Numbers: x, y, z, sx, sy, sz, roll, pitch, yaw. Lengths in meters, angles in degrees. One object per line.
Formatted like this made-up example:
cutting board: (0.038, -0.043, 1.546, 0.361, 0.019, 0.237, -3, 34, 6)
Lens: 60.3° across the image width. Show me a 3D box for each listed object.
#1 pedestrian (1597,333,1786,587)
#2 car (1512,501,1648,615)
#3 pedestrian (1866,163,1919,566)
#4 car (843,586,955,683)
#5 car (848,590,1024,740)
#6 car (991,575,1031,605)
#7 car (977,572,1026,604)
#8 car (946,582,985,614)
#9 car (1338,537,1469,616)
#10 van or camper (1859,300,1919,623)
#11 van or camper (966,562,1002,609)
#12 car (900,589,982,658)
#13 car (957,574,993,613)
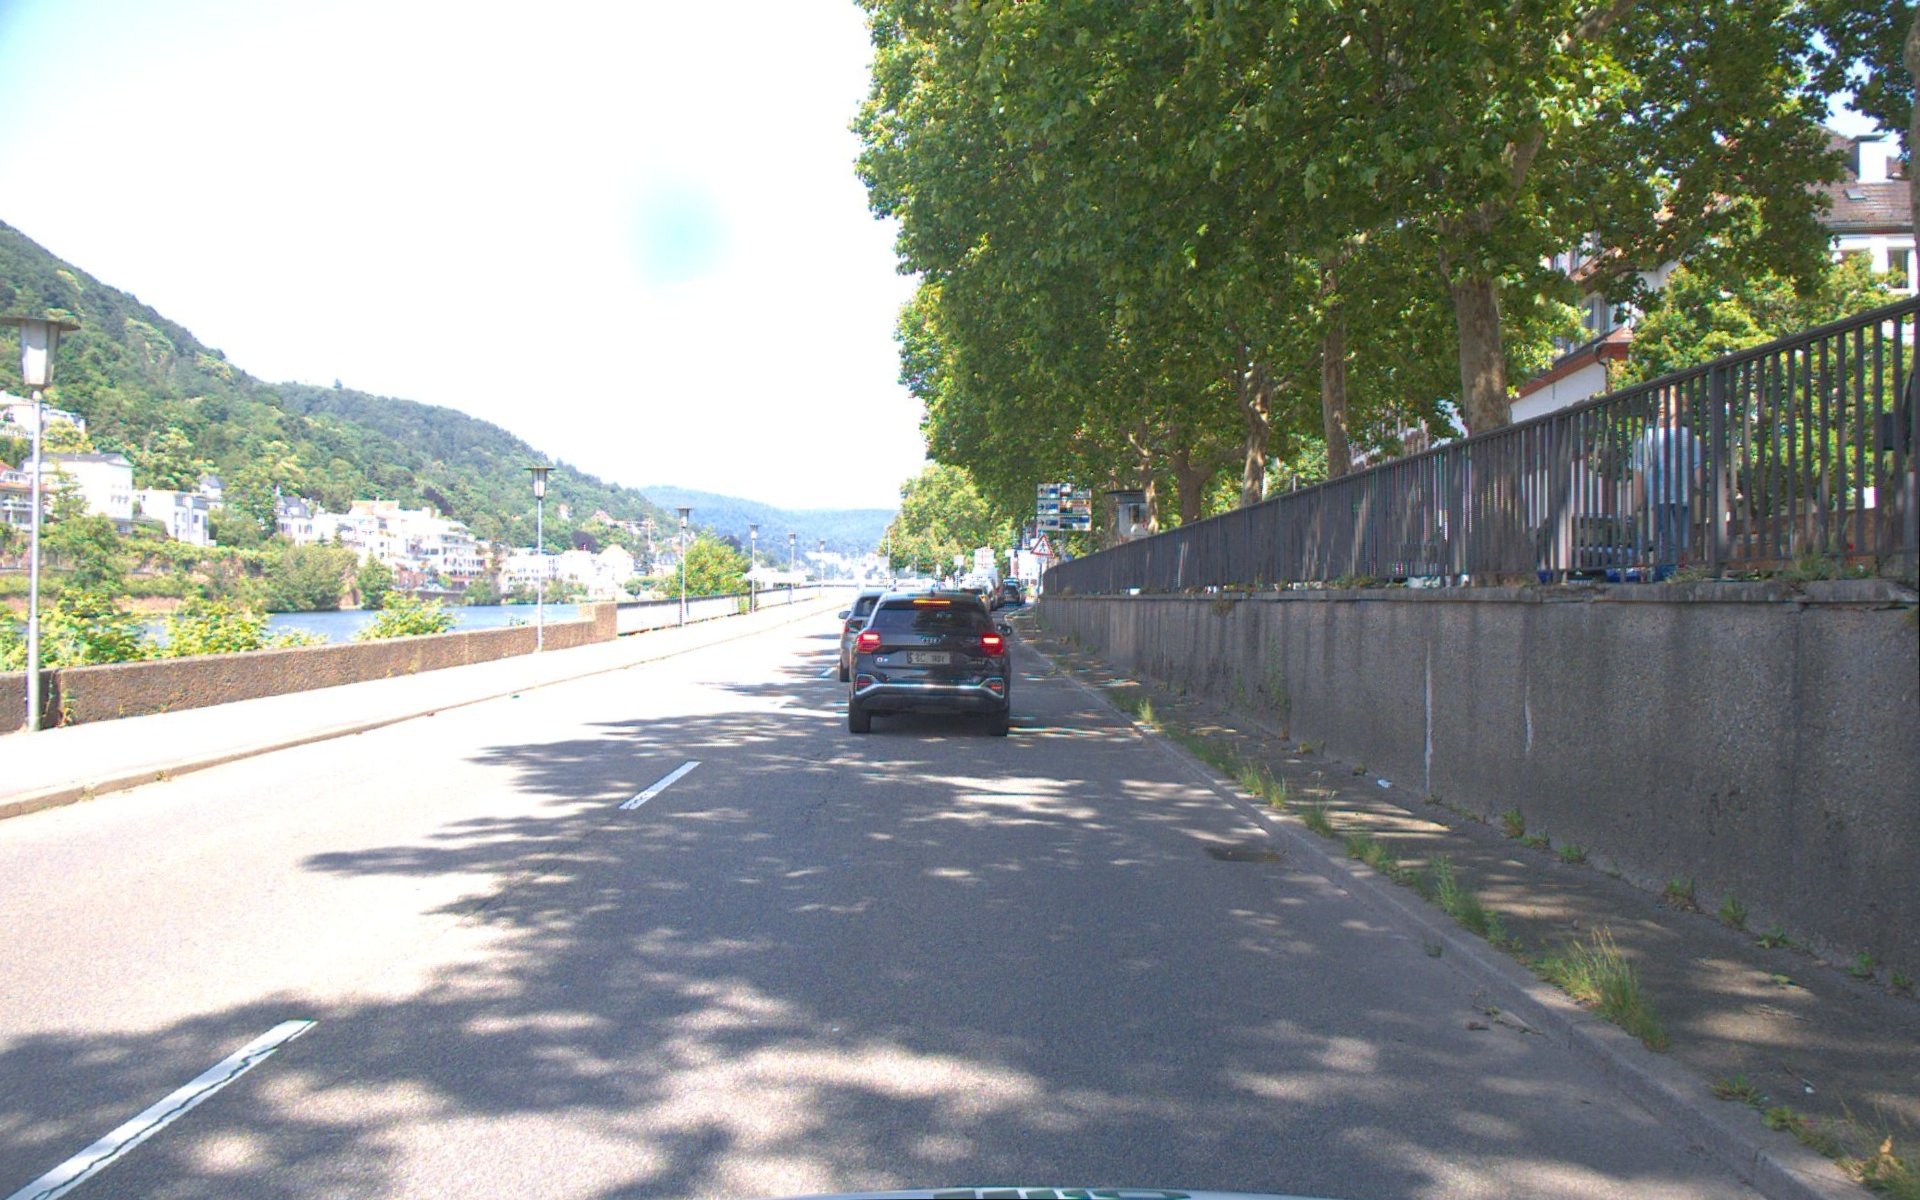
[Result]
pedestrian: (4.453, -0.820, 10.124, 0.666, 1.449, 0.949, -3, 0, -1)
car: (9.118, -0.555, 24.170, 1.616, 1.526, 3.815, 0, 0, 24)
pedestrian: (4.338, -0.967, 6.494, 0.918, 1.607, 1.027, -3, 0, -3)
car: (-1.040, 0.550, 28.945, 1.791, 1.537, 3.999, 1, 0, -1)
car: (-0.285, 0.663, 19.078, 1.791, 1.512, 3.999, 1, 0, -1)
car: (3.806, -0.744, 124.927, 2.608, 2.048, 5.823, -3, 0, -1)
car: (2.858, -0.832, 115.469, 3.036, 2.048, 5.823, -3, 0, -1)
car: (0.241, -0.091, 79.290, 1.791, 1.470, 3.999, 1, 0, -1)
car: (9.011, -0.456, 33.426, 1.740, 1.495, 3.995, 1, 0, 27)
van or camper: (9.554, -0.950, 15.043, 2.293, 2.222, 7.345, 2, -1, 28)
van or camper: (1.539, -0.936, 105.991, 2.262, 2.897, 4.246, -1, 0, 1)
car: (-0.469, 0.522, 39.055, 1.791, 1.512, 3.999, 1, 0, -1)
car: (0.880, -0.354, 97.051, 1.953, 2.207, 3.999, -1, 0, -1)
